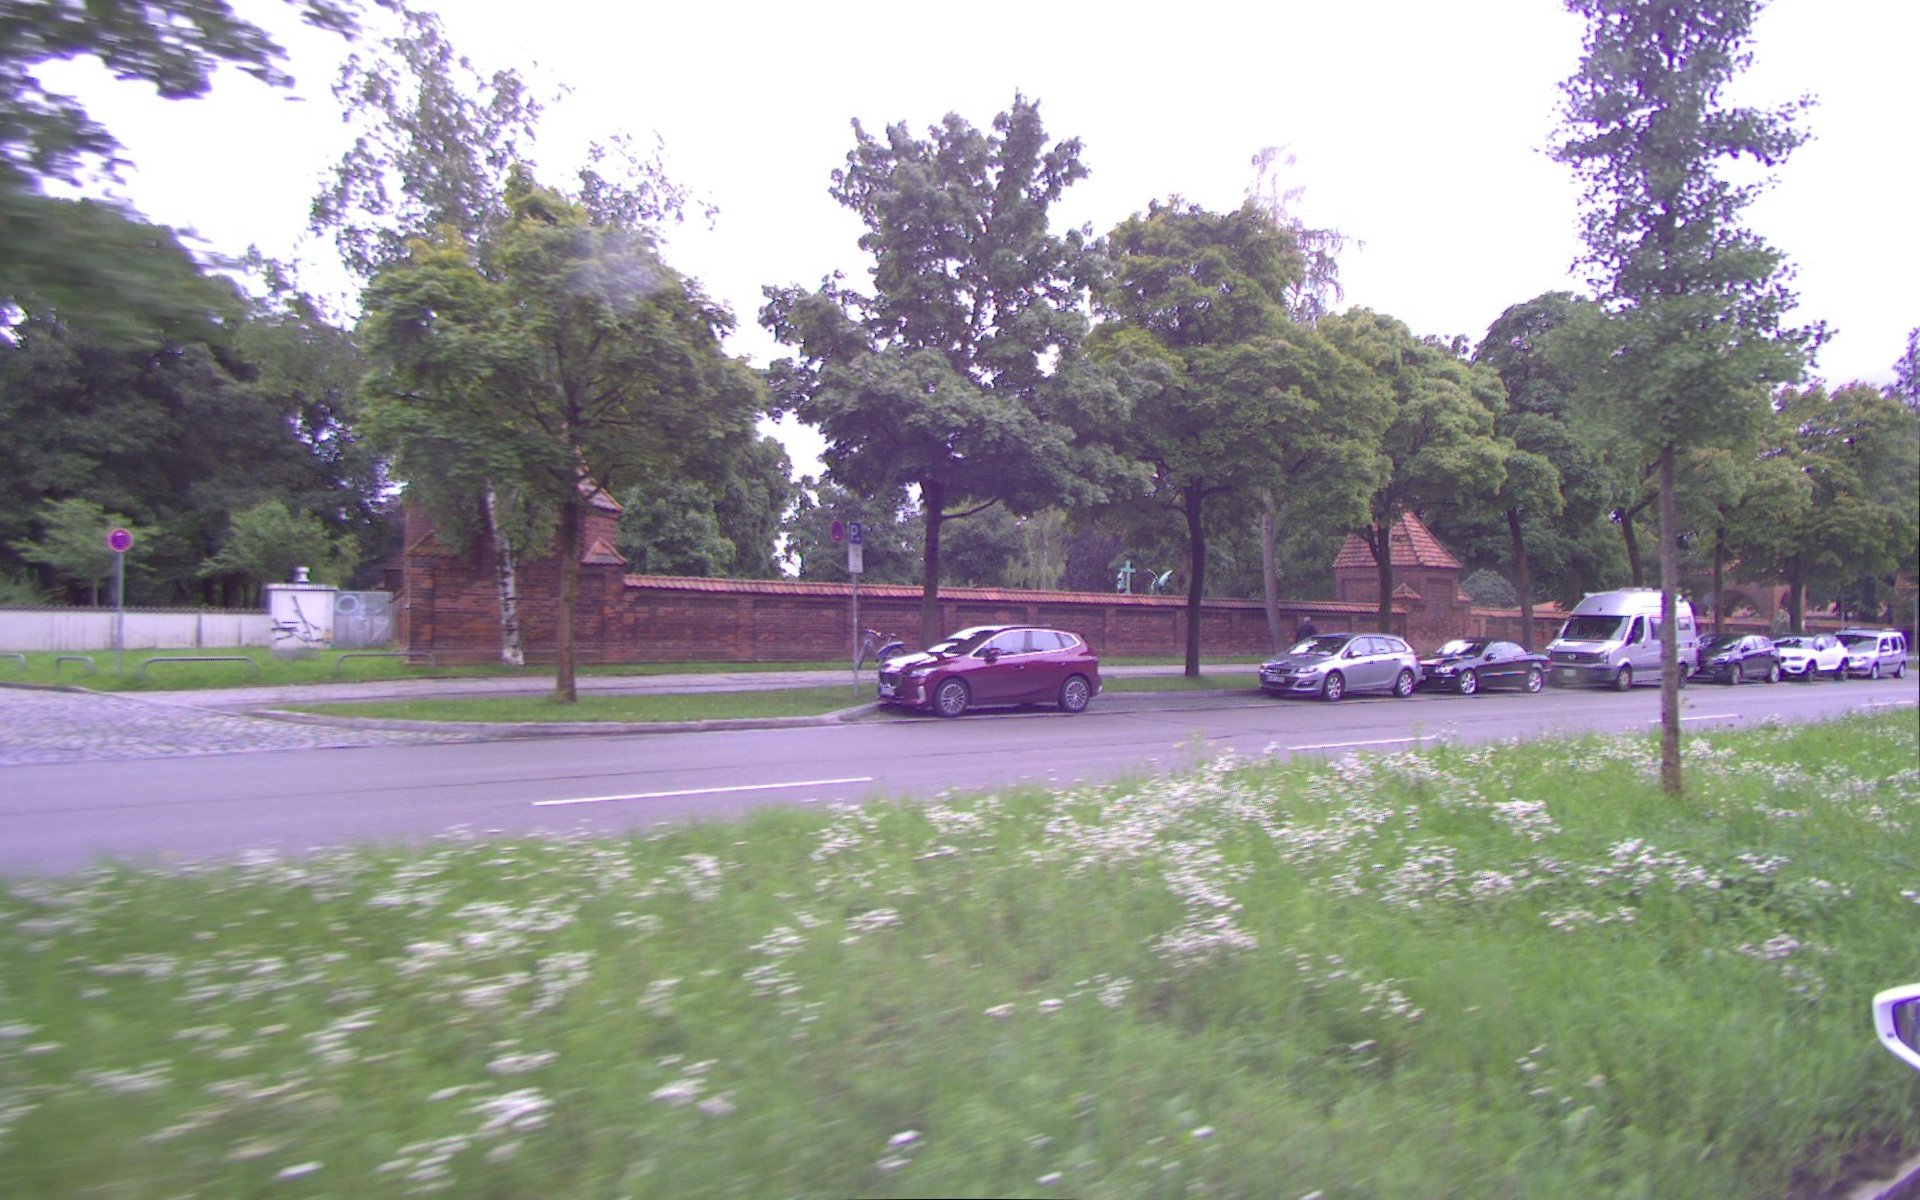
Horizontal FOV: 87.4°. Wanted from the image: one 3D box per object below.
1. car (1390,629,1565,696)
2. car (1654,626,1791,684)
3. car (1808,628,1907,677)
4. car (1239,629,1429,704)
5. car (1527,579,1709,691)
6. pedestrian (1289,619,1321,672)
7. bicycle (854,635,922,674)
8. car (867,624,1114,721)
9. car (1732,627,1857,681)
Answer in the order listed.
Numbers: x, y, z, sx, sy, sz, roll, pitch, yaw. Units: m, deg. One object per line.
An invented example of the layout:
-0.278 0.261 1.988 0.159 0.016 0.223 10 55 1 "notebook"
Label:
13.468 1.577 26.047 4.764 1.557 1.804 1 0 -31 "car"
25.203 1.767 33.164 4.528 1.759 2.173 1 0 -33 "car"
34.119 1.974 38.178 3.953 1.757 1.698 1 -1 -30 "car"
8.751 1.492 23.419 4.390 1.557 1.804 1 0 -31 "car"
19.454 1.000 29.597 6.124 2.993 2.173 1 0 -33 "car"
10.589 1.388 30.861 0.778 1.588 0.777 1 -1 6 "pedestrian"
-1.827 1.372 25.589 1.602 0.949 0.651 1 -1 -33 "bicycle"
0.604 1.264 18.463 4.249 1.557 1.804 1 0 -31 "car"
29.674 1.873 35.700 4.528 1.759 2.173 1 0 -33 "car"
